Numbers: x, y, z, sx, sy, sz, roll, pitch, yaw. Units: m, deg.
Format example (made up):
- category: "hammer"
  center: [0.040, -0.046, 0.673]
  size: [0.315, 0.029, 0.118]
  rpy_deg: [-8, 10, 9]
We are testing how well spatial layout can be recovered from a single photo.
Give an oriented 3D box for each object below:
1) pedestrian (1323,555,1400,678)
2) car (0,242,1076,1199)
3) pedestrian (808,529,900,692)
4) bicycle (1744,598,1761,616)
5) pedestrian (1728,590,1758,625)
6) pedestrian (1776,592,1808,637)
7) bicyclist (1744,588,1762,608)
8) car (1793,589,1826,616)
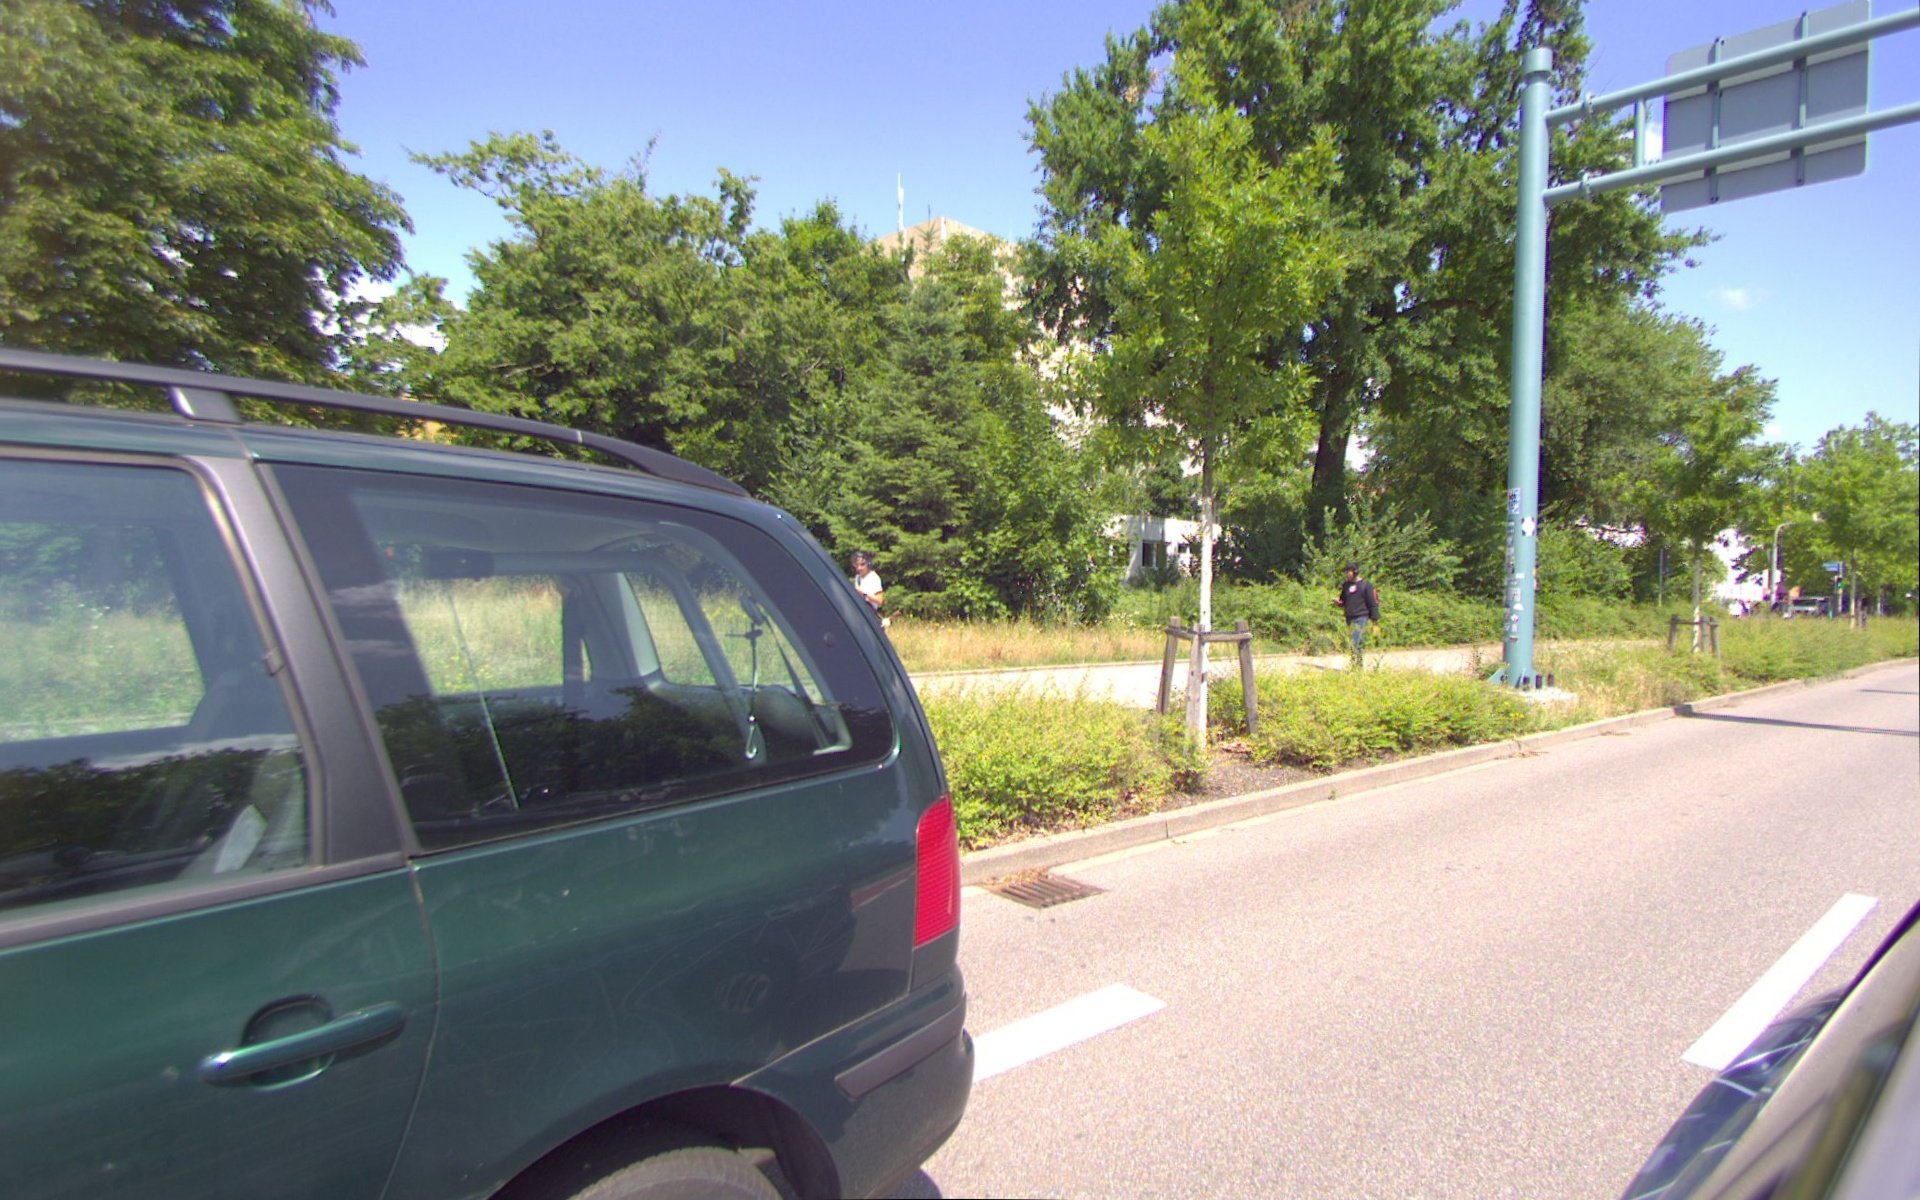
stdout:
- category: "pedestrian"
  center: [5.892, 0.225, 14.852]
  size: [0.822, 1.743, 0.718]
  rpy_deg: [1, 1, -39]
- category: "car"
  center: [-1.976, 0.520, 1.241]
  size: [4.313, 1.756, 1.815]
  rpy_deg: [1, 0, -42]
- category: "pedestrian"
  center: [-1.188, 0.106, 11.315]
  size: [0.733, 1.743, 0.724]
  rpy_deg: [1, 1, -39]
- category: "bicycle"
  center: [57.765, 0.499, 73.751]
  size: [0.881, 1.267, 2.134]
  rpy_deg: [1, 1, 40]
- category: "pedestrian"
  center: [43.832, 0.410, 56.676]
  size: [0.952, 1.896, 0.880]
  rpy_deg: [1, 0, -6]
- category: "pedestrian"
  center: [33.463, 0.568, 40.718]
  size: [0.913, 1.743, 0.815]
  rpy_deg: [1, 1, -39]
- category: "bicyclist"
  center: [57.710, -0.166, 73.663]
  size: [0.968, 1.462, 1.061]
  rpy_deg: [1, 1, 41]
- category: "car"
  center: [68.687, 0.228, 81.801]
  size: [1.992, 2.080, 4.166]
  rpy_deg: [2, 1, 41]
